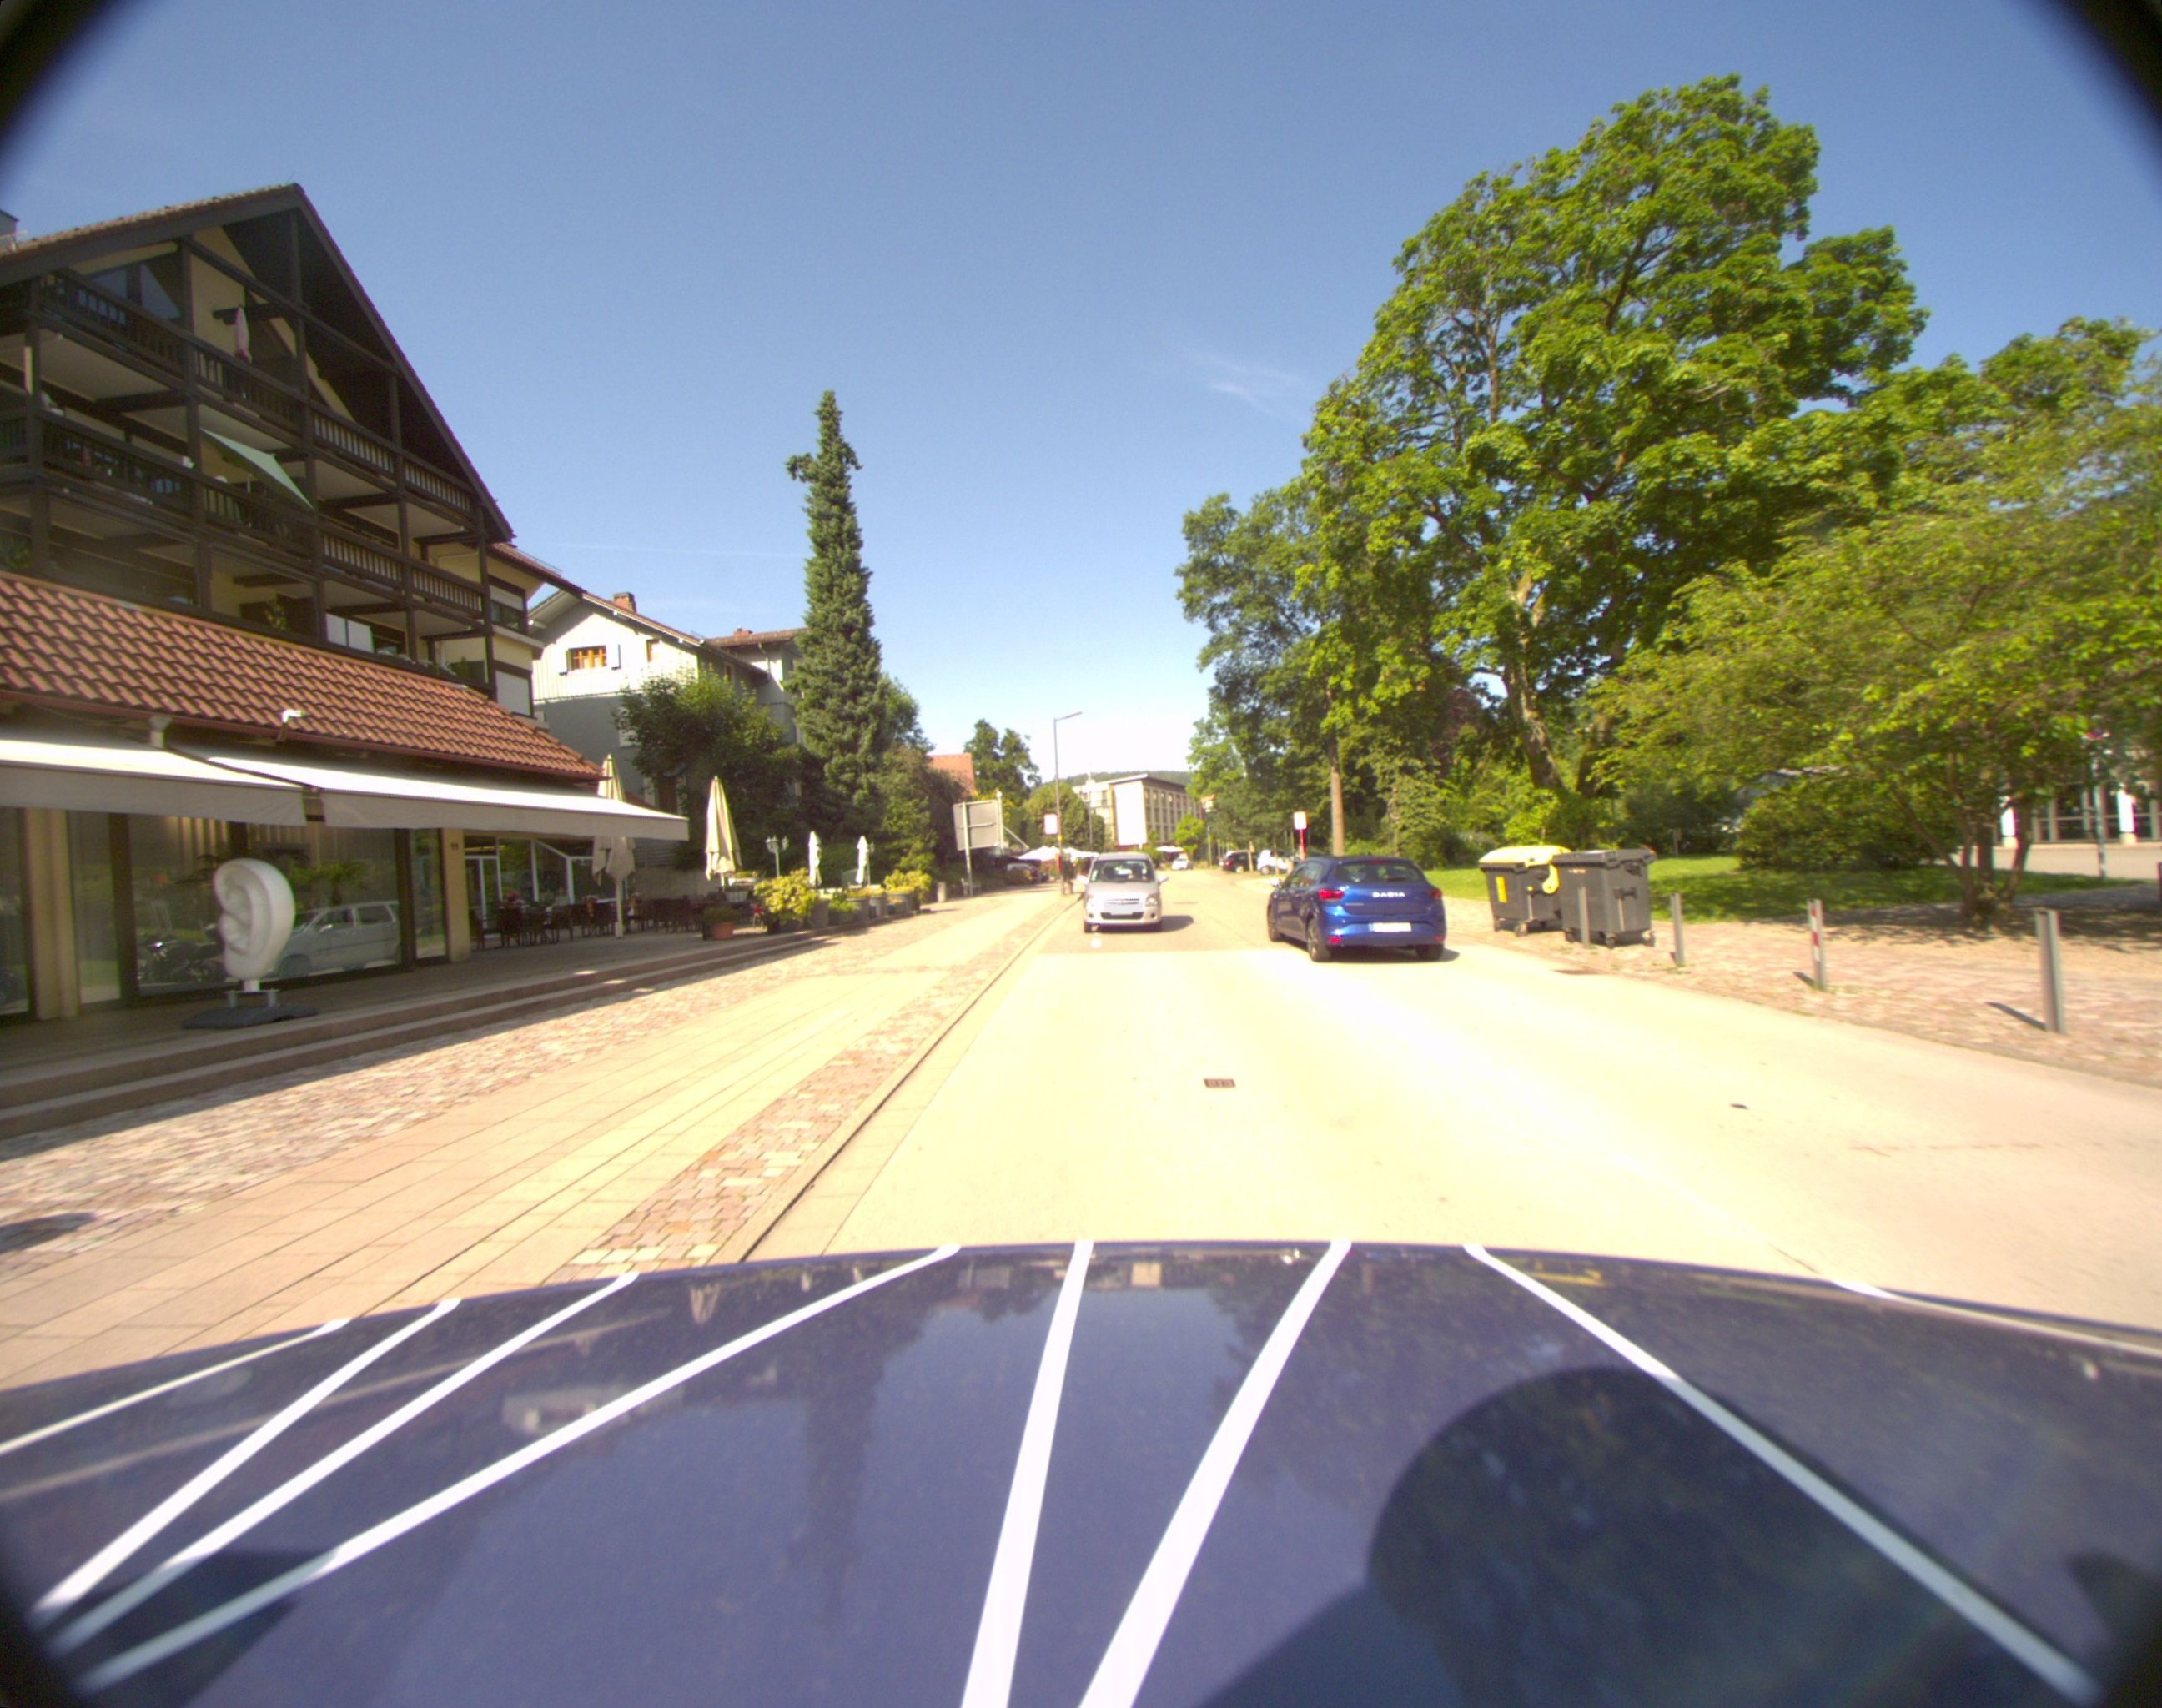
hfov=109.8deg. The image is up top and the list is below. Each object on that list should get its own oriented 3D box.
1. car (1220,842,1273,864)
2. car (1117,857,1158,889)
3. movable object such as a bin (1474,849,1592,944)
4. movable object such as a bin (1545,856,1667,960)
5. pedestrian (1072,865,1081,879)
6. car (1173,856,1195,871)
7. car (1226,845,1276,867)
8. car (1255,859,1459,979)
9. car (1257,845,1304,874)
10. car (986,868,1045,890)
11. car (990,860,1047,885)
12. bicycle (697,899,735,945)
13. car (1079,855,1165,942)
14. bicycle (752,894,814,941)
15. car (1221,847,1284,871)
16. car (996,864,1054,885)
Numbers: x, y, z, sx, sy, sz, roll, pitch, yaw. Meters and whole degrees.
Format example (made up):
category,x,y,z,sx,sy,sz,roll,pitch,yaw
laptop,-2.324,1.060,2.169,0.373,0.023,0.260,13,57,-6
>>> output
category,x,y,z,sx,sy,sz,roll,pitch,yaw
car,15.085,-0.088,69.230,4.490,1.409,1.812,-8,0,16
car,3.144,1.007,41.671,1.739,1.488,3.932,-4,0,10
movable object such as a bin,7.563,0.678,12.807,1.081,1.419,1.377,-6,0,2
movable object such as a bin,7.413,0.728,10.811,0.757,1.333,1.295,-6,0,2
pedestrian,-0.409,1.627,69.004,0.812,1.253,0.700,-3,0,-3
car,12.477,1.122,91.630,1.652,1.462,4.005,-5,-1,20
car,16.742,0.187,74.972,4.491,1.654,1.811,-6,0,8
car,4.001,0.844,11.792,1.745,1.454,4.187,-1,0,2
car,12.679,0.332,48.358,2.656,1.537,1.683,-5,0,11
car,-4.932,1.856,57.805,4.118,1.407,1.749,-3,0,7
car,-4.553,1.313,55.372,3.884,1.571,1.749,-3,0,2
bicycle,-7.695,1.413,16.065,0.397,0.837,1.614,-4,0,-16
car,0.848,0.859,16.683,1.604,1.628,4.000,-2,0,2
bicycle,-6.378,1.343,16.338,0.397,0.858,1.617,-3,0,11
car,13.060,0.406,58.089,4.286,1.423,1.713,-5,0,-1
car,-4.434,1.623,60.422,4.271,1.371,1.710,-3,0,7
